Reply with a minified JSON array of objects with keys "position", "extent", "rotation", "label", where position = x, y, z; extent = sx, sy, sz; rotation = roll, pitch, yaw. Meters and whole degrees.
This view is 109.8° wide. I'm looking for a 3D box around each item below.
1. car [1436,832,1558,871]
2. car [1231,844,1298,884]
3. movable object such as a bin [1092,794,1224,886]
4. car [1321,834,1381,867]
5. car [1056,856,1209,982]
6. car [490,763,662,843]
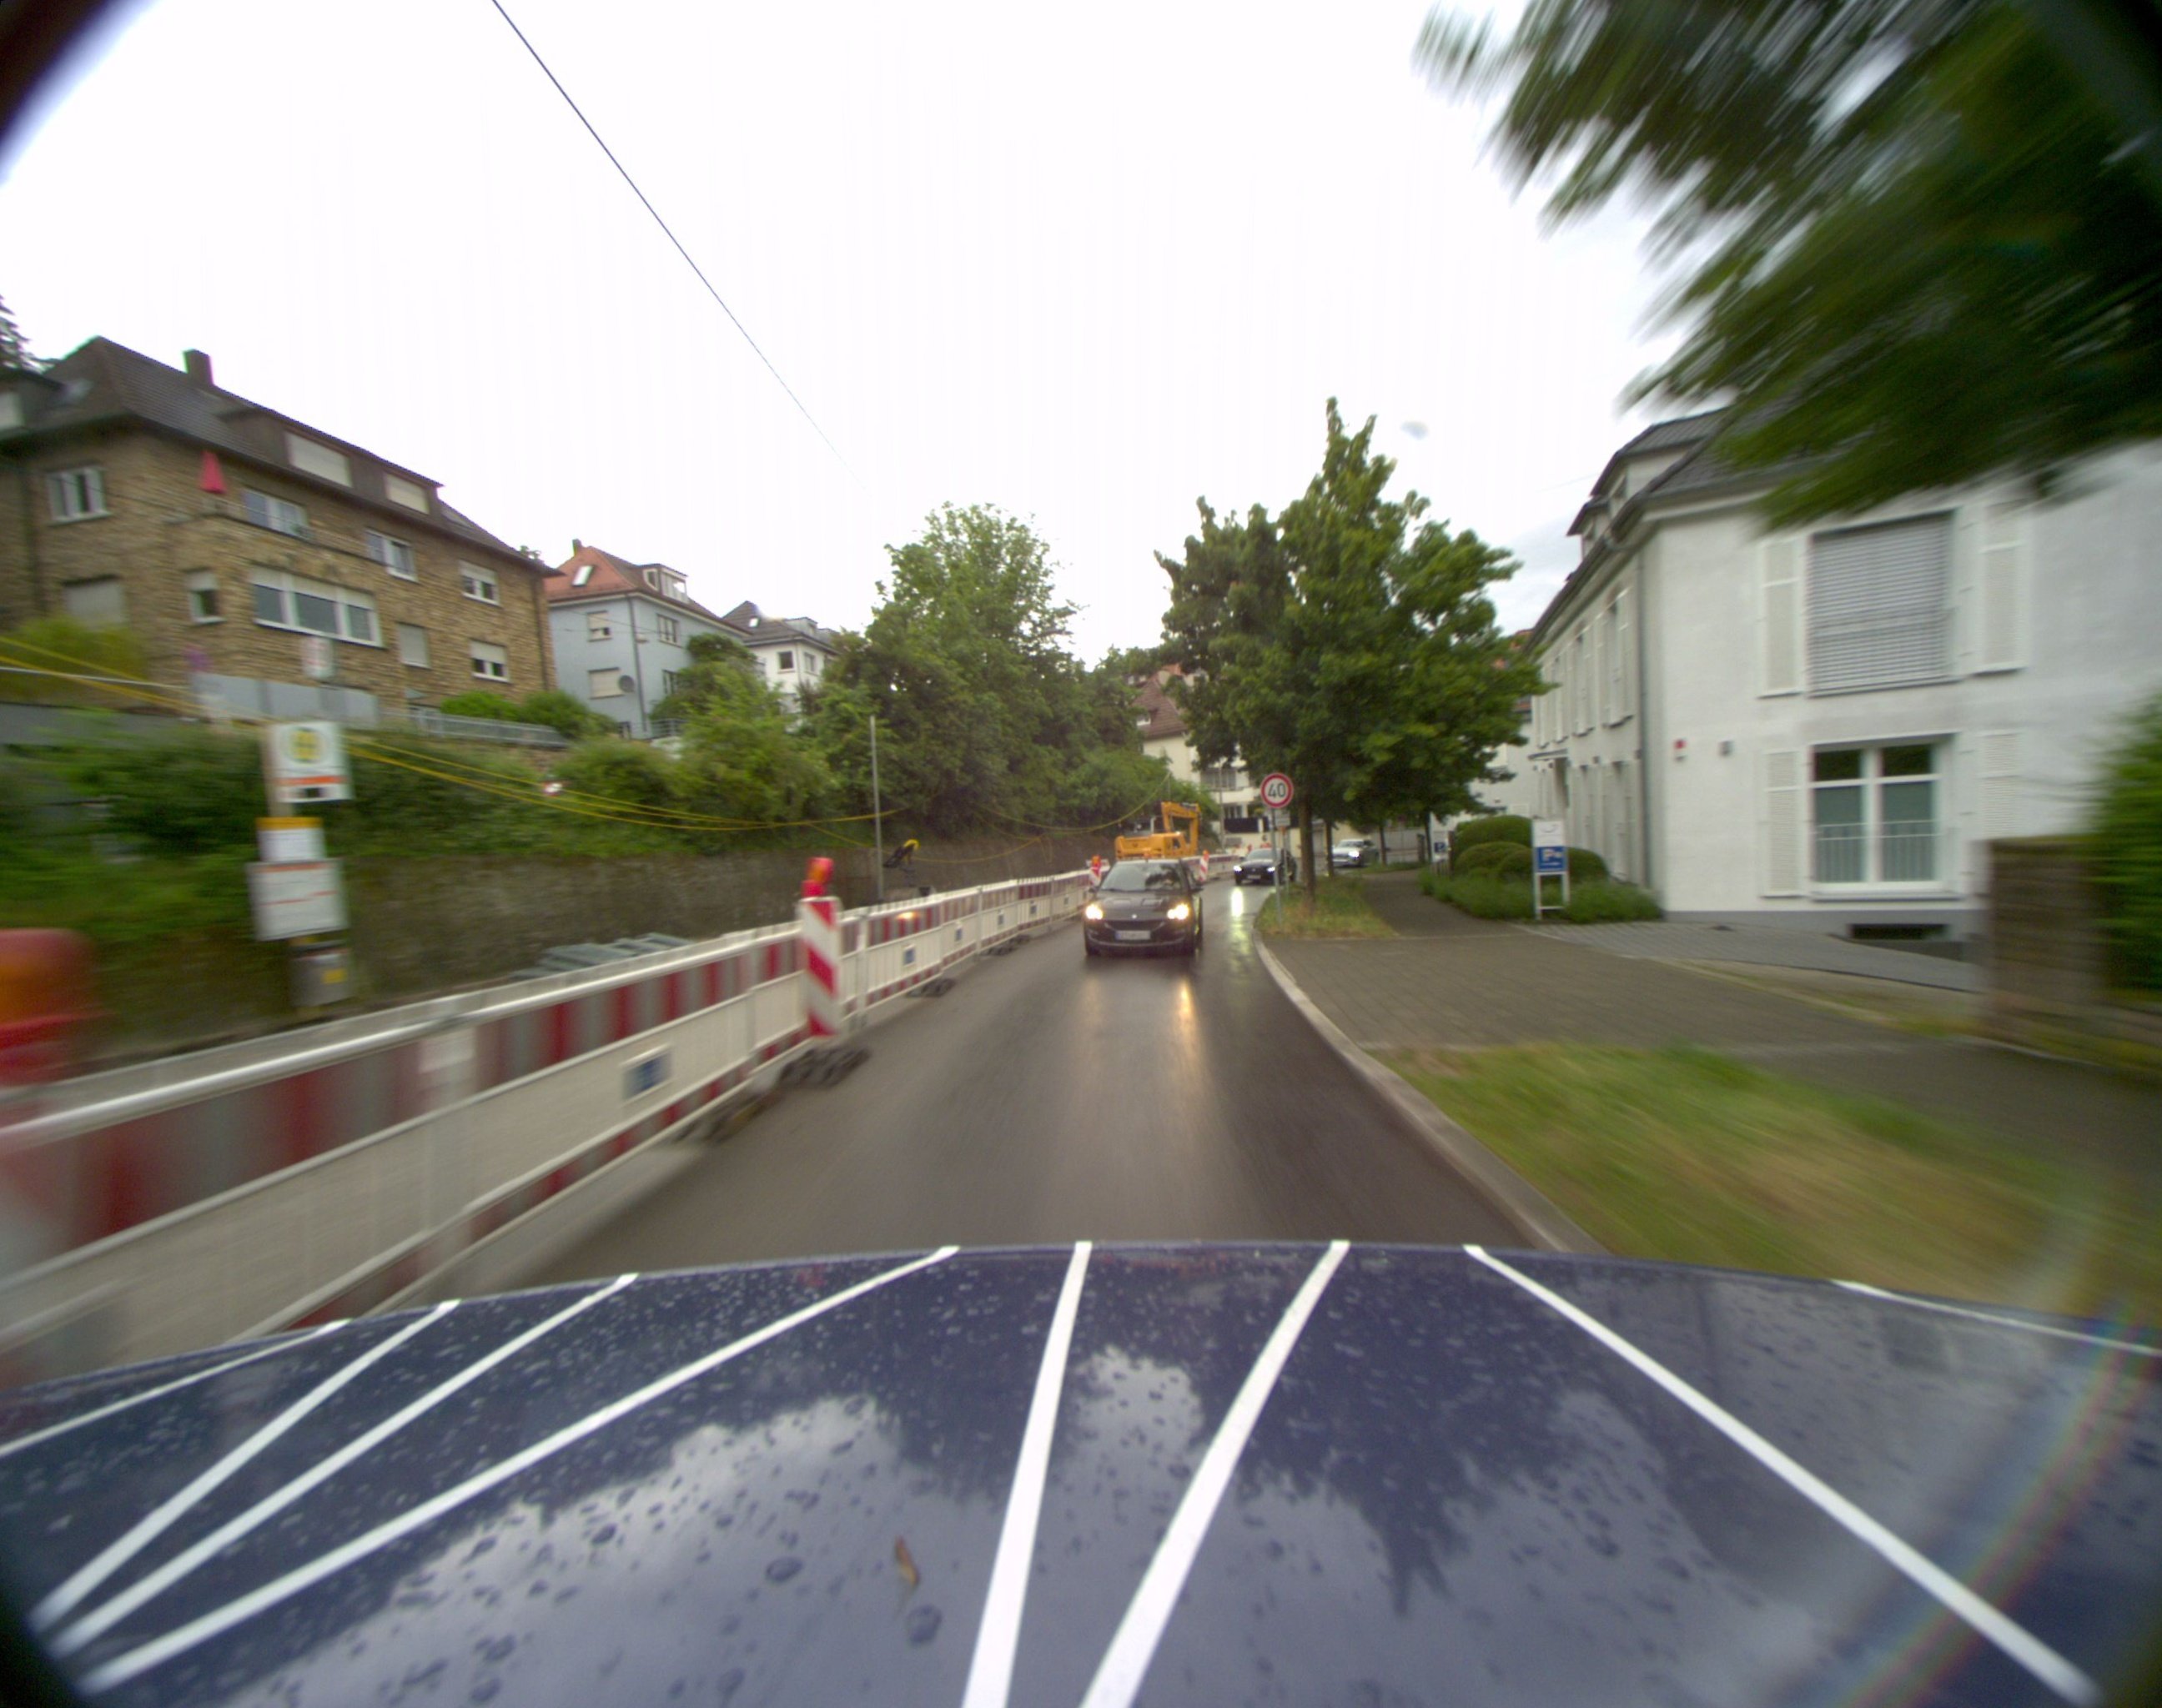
[{"position":[16.741,-0.093,30.669],"extent":[4.060,1.395,1.847],"rotation":[-2,1,37],"label":"car"},{"position":[7.566,0.373,31.055],"extent":[1.840,1.395,4.077],"rotation":[-2,1,25],"label":"car"},{"position":[3.839,-0.679,35.742],"extent":[3.323,3.818,7.215],"rotation":[-2,1,30],"label":"movable object such as a bin"},{"position":[15.902,-0.225,44.573],"extent":[1.996,1.699,4.582],"rotation":[-2,1,37],"label":"car"},{"position":[1.043,0.875,12.239],"extent":[1.672,1.458,4.719],"rotation":[-3,1,13],"label":"car"},{"position":[-16.091,-1.737,24.584],"extent":[1.899,2.069,4.424],"rotation":[-2,9,9],"label":"car"}]
